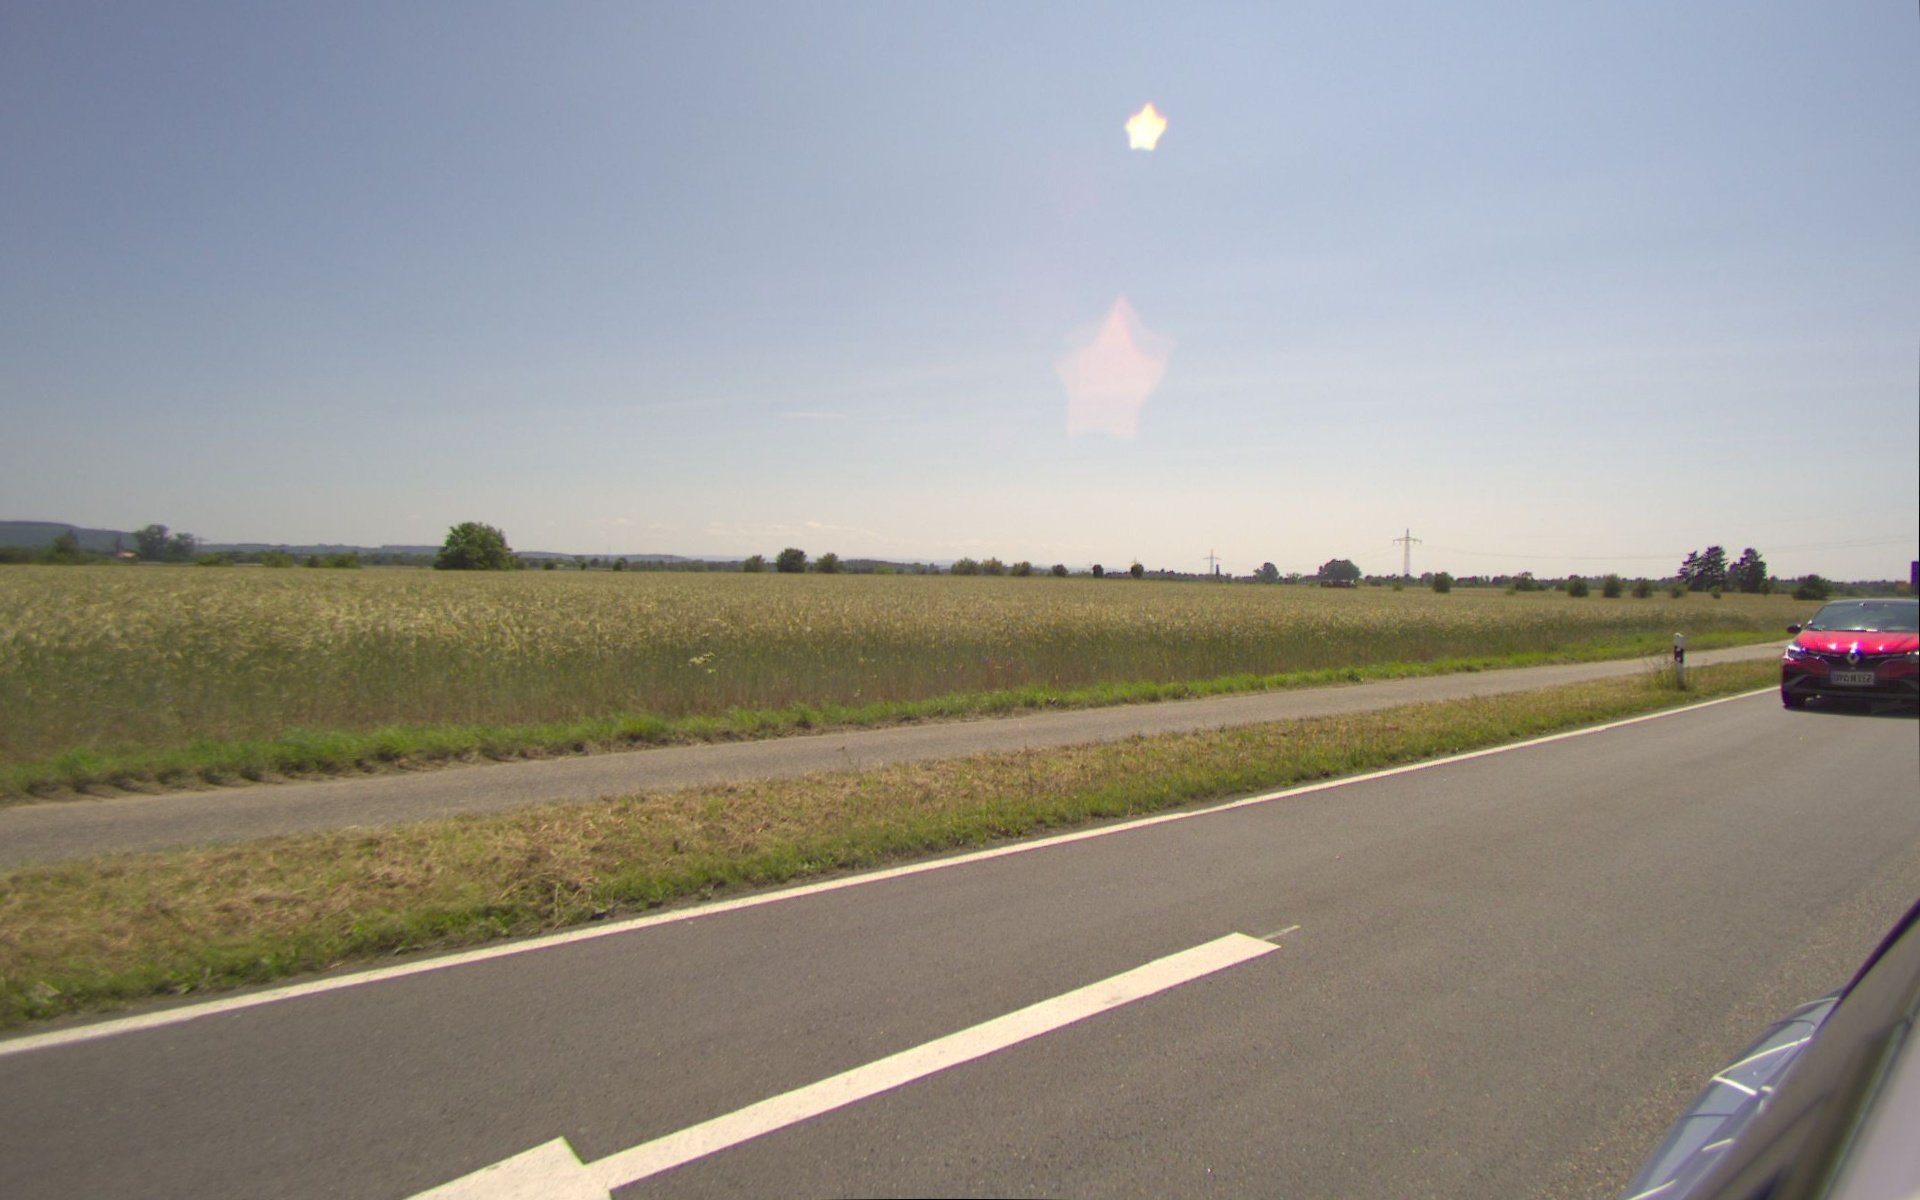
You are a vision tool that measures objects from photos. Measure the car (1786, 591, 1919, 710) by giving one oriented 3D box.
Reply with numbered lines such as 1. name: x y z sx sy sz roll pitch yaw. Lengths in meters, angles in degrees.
1. car: 13.977 0.655 15.176 4.373 1.572 1.824 0 0 -42
